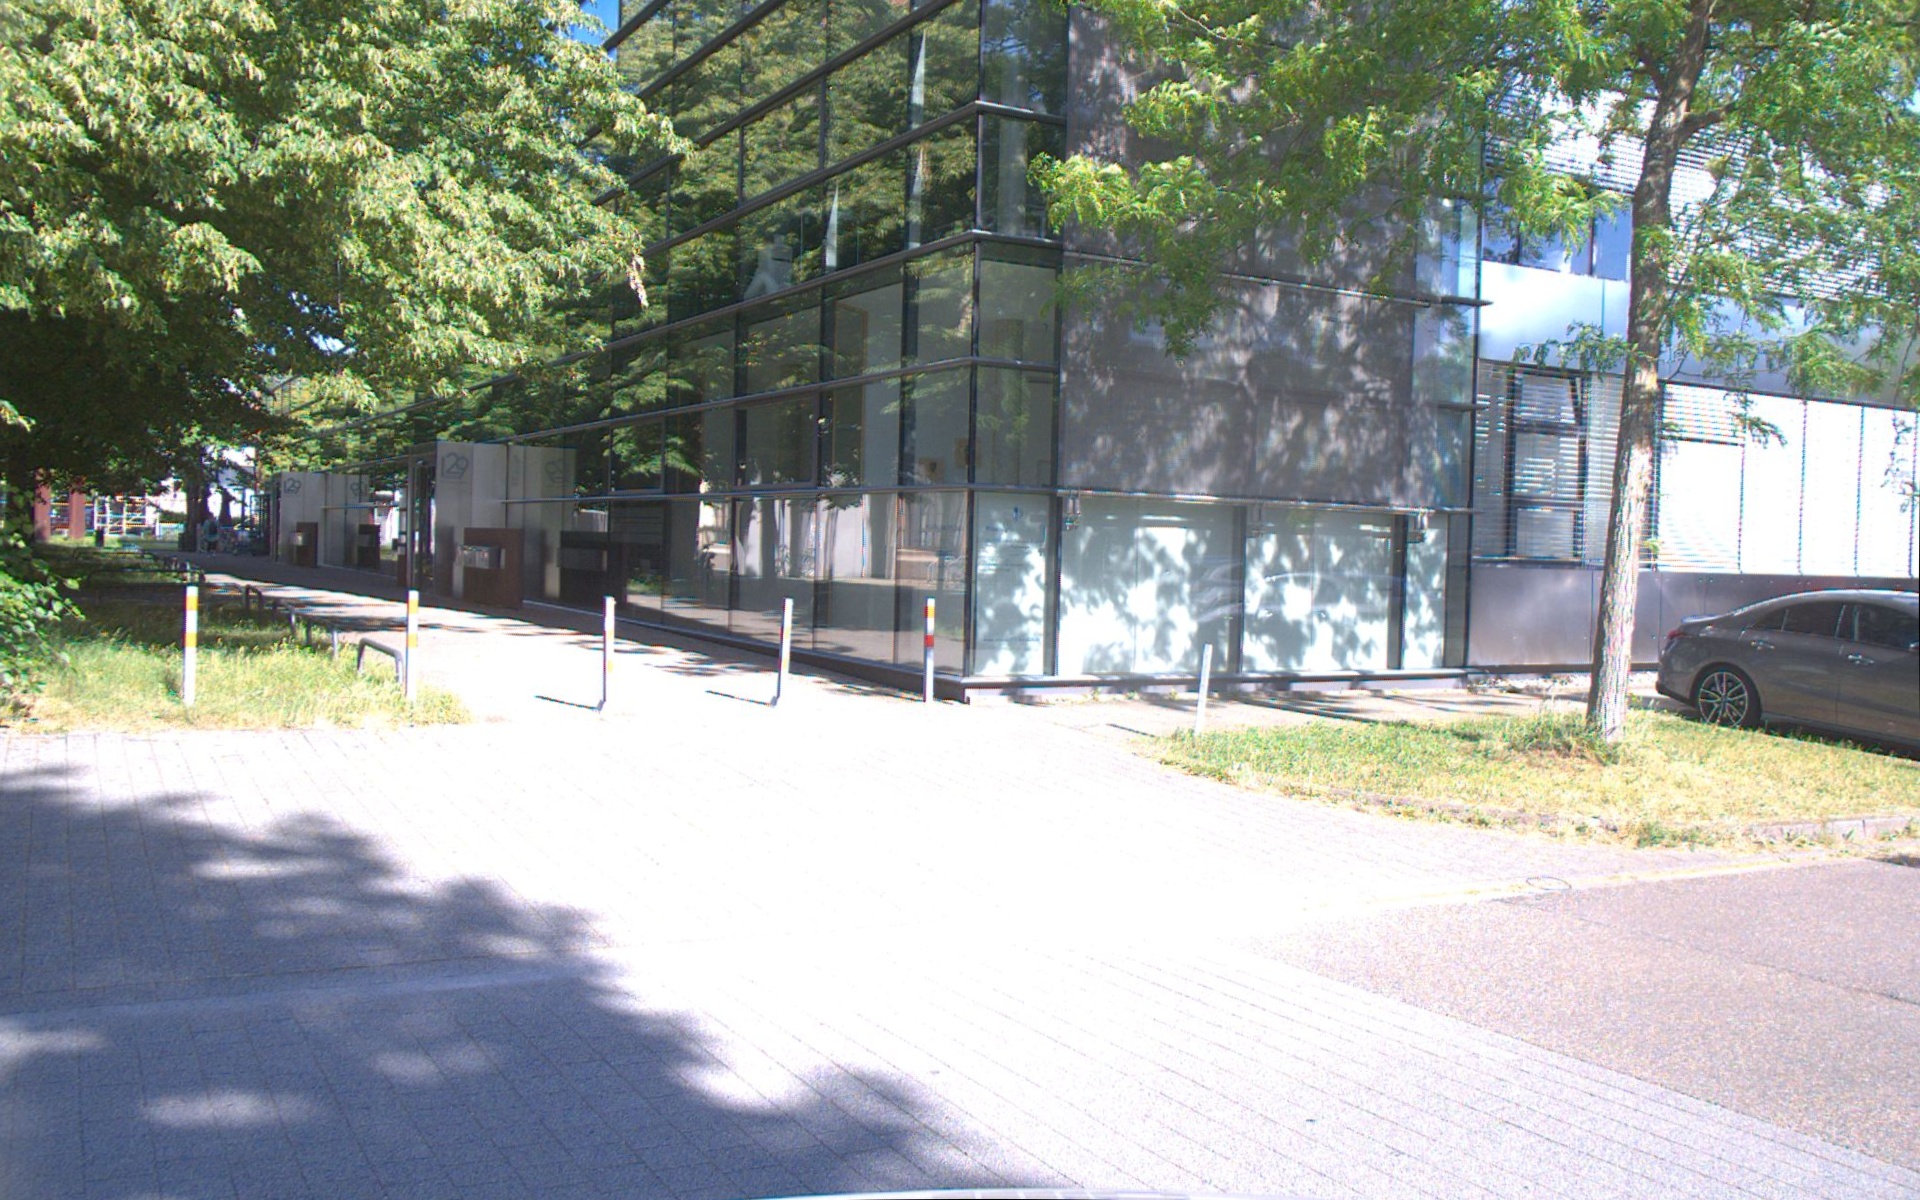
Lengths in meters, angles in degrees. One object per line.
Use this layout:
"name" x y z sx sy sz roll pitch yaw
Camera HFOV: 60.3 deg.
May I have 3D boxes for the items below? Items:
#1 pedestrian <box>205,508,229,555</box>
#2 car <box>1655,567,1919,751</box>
"pedestrian" -25.422 -2.354 56.619 0.707 1.577 0.685 1 2 -23
"car" 8.793 0.574 14.813 1.865 1.373 4.509 1 5 -29
